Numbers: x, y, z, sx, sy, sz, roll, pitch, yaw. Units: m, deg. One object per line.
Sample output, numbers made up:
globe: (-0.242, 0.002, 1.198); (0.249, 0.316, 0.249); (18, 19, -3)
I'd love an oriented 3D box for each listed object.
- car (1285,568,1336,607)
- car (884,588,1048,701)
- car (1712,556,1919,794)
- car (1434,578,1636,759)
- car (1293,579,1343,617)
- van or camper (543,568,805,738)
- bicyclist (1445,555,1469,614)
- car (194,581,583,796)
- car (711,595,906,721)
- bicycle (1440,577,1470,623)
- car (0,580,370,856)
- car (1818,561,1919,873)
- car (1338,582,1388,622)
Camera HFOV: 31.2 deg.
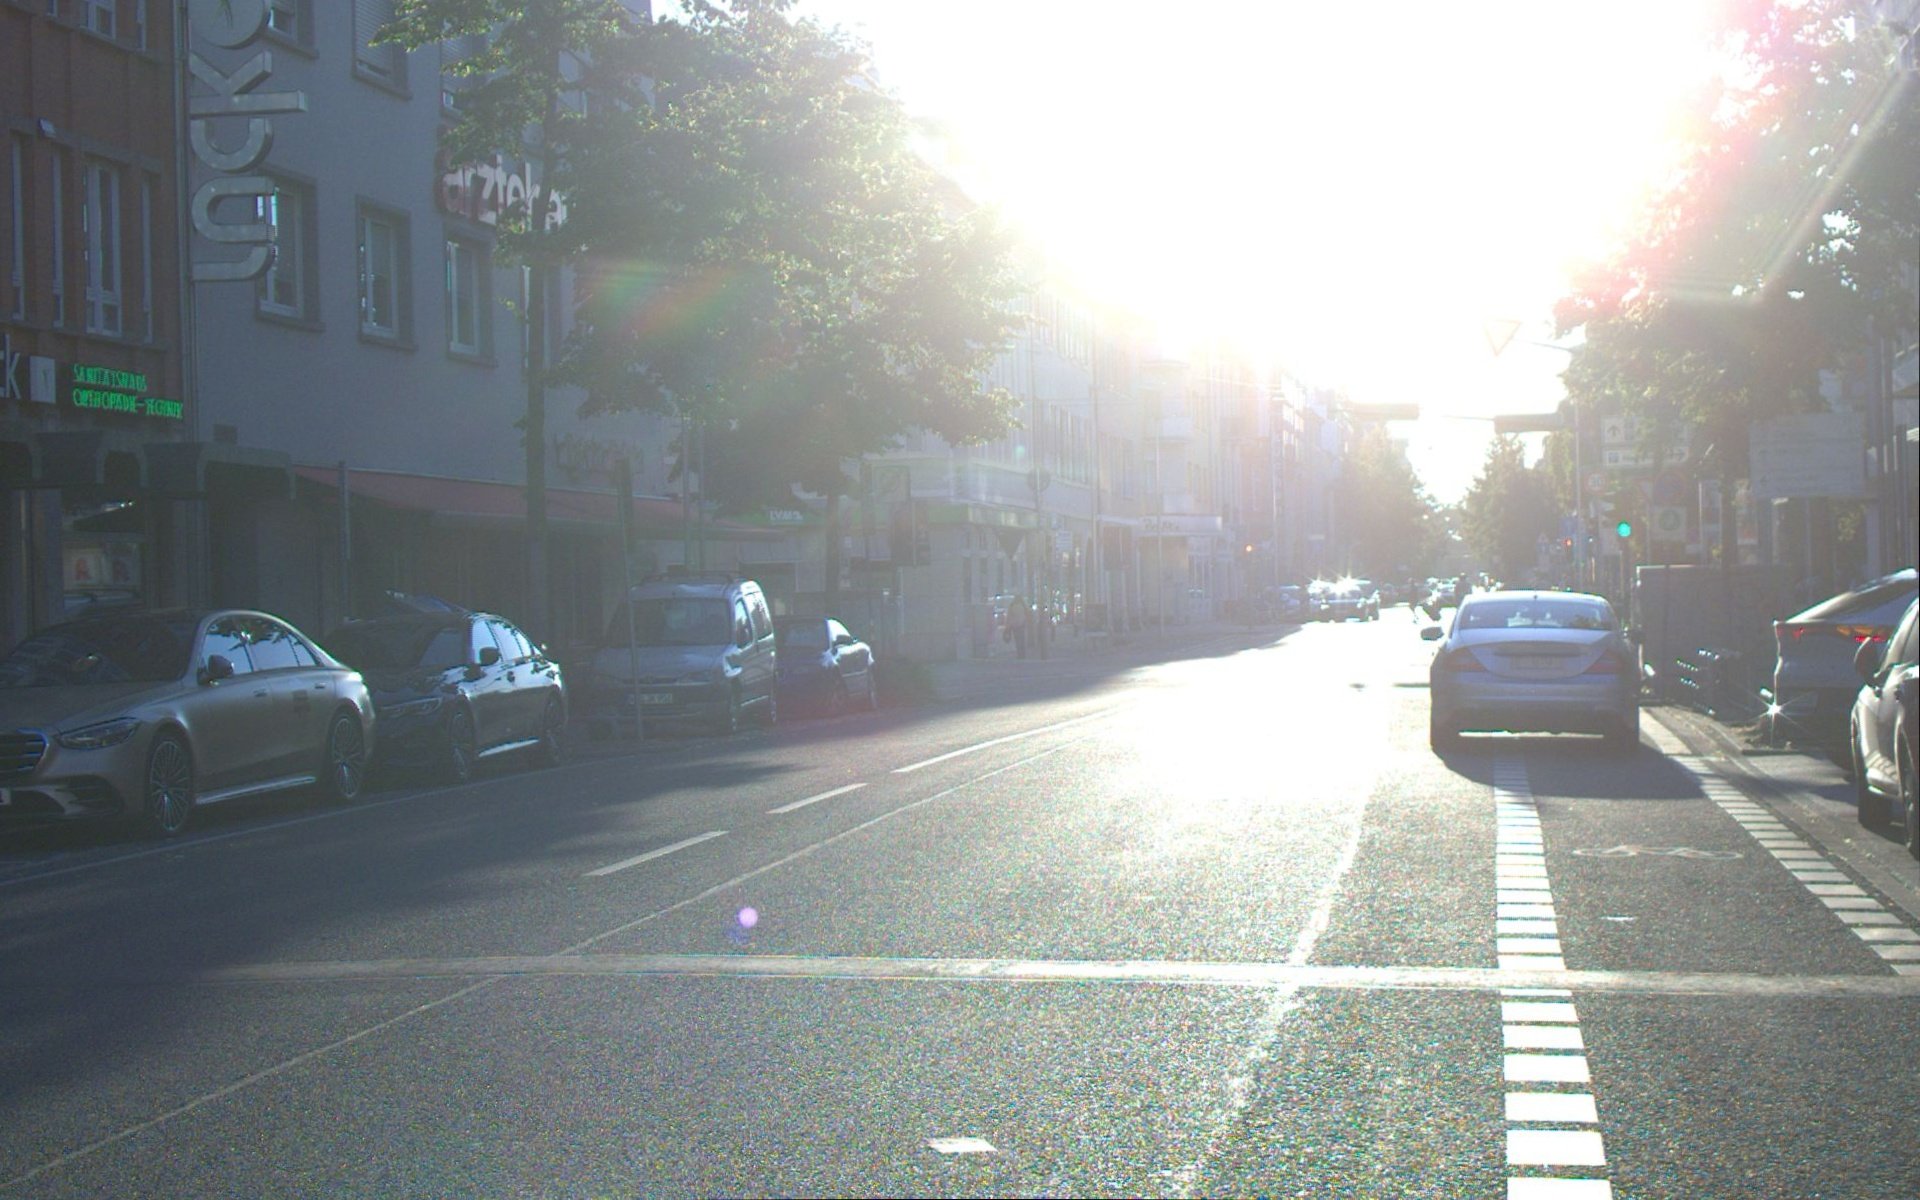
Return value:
car: (14.013, -0.508, 137.185); (1.690, 1.497, 3.785); (-1, 0, 11)
car: (0.127, 0.614, 49.729); (1.690, 1.497, 3.785); (-1, 0, 11)
car: (8.066, 0.524, 25.867); (4.306, 1.692, 1.880); (0, 1, -14)
car: (5.248, 0.567, 31.179); (1.690, 1.497, 3.785); (1, 1, 11)
car: (14.720, -0.097, 141.311); (1.690, 1.497, 3.785); (-1, 0, 11)
van or camper: (-3.170, 0.551, 39.043); (1.789, 1.768, 4.556); (-1, 0, 11)
bicyclist: (13.589, -0.428, 93.938); (0.547, 1.575, 0.802); (-2, 0, 12)
car: (-4.793, 0.693, 29.556); (1.994, 1.649, 4.479); (-1, 0, 8)
car: (-1.920, 0.717, 44.681); (1.690, 1.497, 3.785); (-1, 0, 11)
bicycle: (13.540, -0.009, 93.947); (0.663, 1.238, 2.129); (0, 1, 12)
car: (-5.827, 0.745, 23.664); (1.994, 1.649, 4.626); (-2, 0, 10)
car: (5.970, 0.560, 19.242); (1.789, 1.575, 3.786); (-1, 0, 7)
car: (16.023, 0.080, 136.571); (1.690, 1.497, 3.785); (-1, 0, 11)
